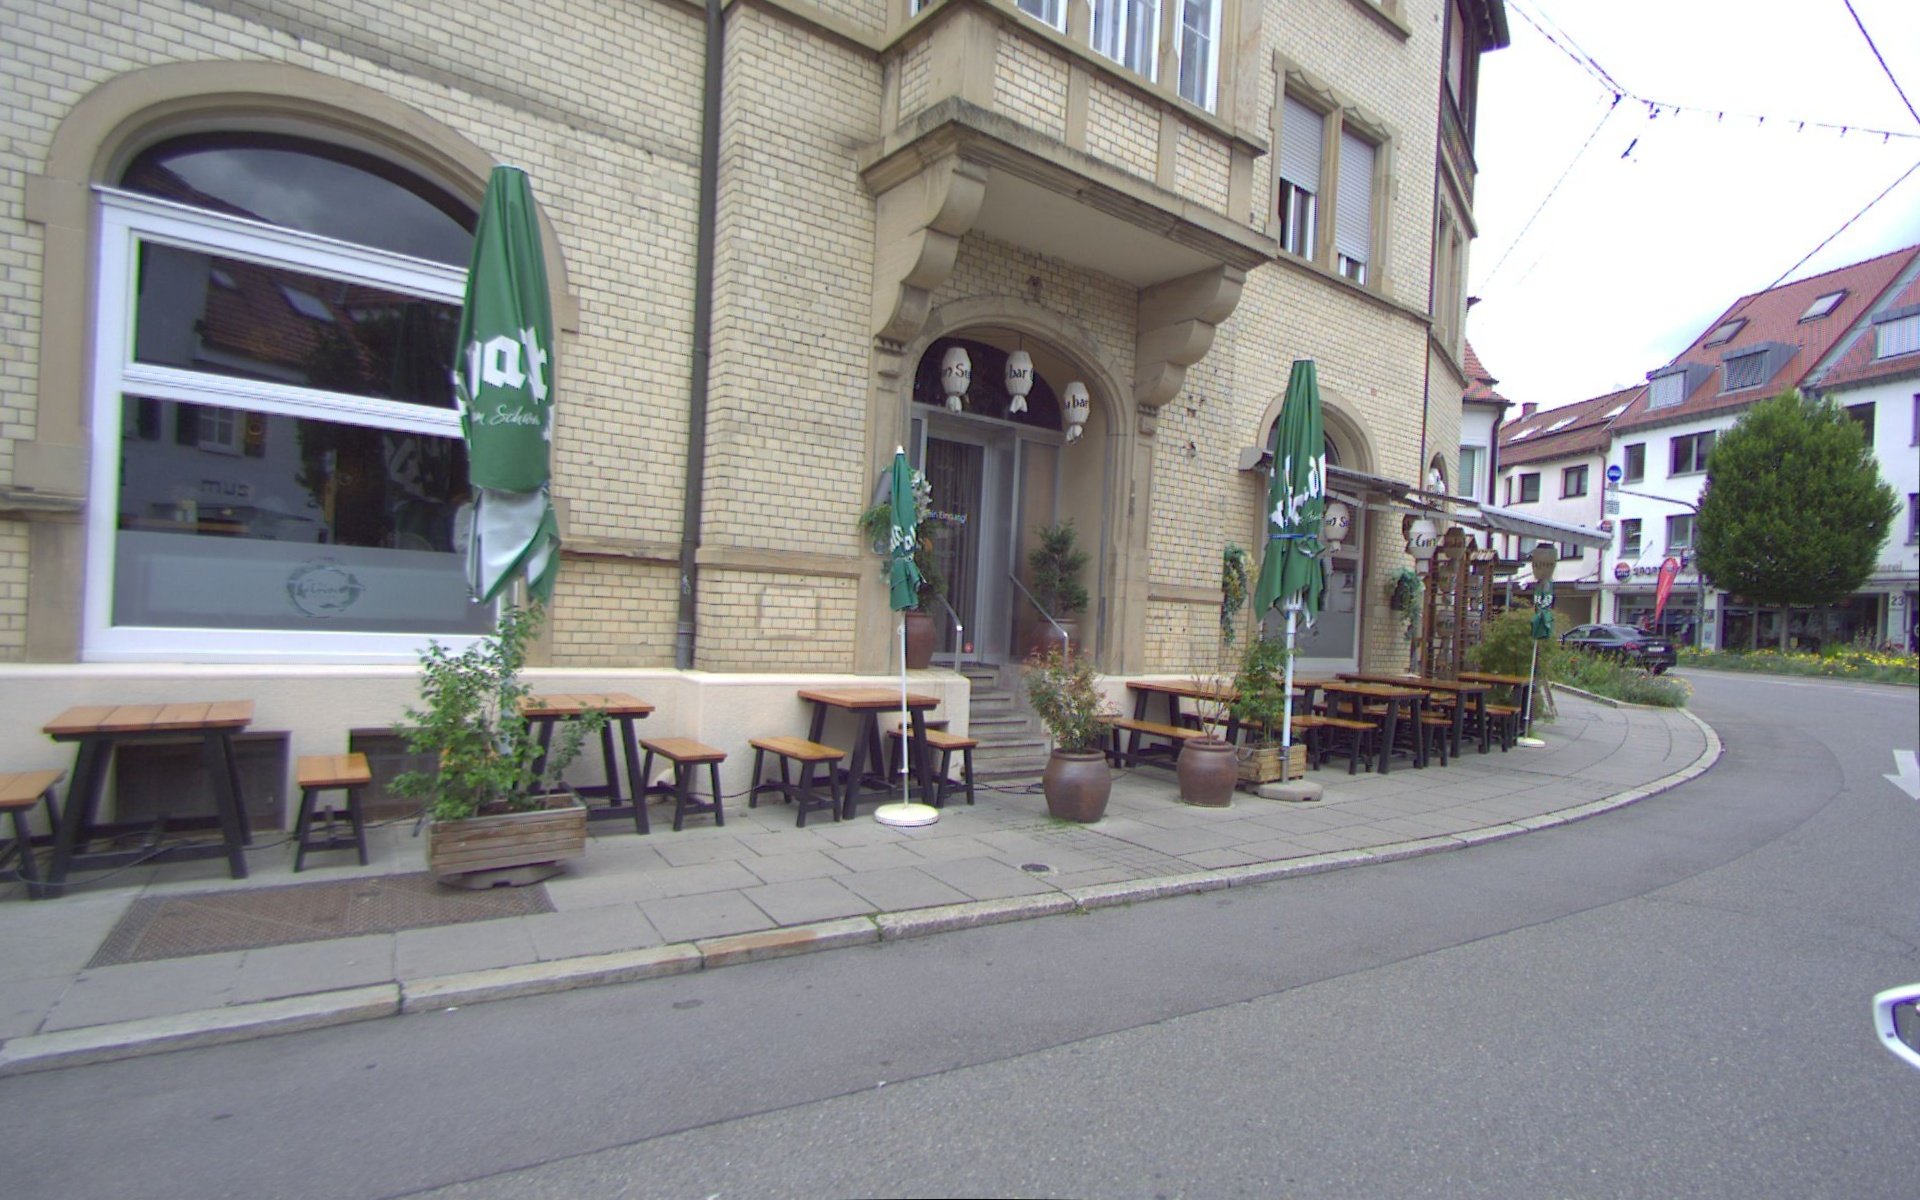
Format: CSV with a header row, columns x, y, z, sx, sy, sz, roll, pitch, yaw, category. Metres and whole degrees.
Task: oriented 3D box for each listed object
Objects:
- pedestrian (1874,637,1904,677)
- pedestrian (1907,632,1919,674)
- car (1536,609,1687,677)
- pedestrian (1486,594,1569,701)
x,y,z,sx,sy,sz,roll,pitch,yaw,category
30.728,1.890,33.225,0.493,1.288,0.491,2,0,-12,pedestrian
30.918,1.717,32.097,0.751,1.335,0.567,4,0,-12,pedestrian
19.253,1.208,29.943,2.000,1.697,4.376,2,1,7,car
11.244,0.917,19.951,1.083,2.040,1.014,2,1,9,pedestrian
